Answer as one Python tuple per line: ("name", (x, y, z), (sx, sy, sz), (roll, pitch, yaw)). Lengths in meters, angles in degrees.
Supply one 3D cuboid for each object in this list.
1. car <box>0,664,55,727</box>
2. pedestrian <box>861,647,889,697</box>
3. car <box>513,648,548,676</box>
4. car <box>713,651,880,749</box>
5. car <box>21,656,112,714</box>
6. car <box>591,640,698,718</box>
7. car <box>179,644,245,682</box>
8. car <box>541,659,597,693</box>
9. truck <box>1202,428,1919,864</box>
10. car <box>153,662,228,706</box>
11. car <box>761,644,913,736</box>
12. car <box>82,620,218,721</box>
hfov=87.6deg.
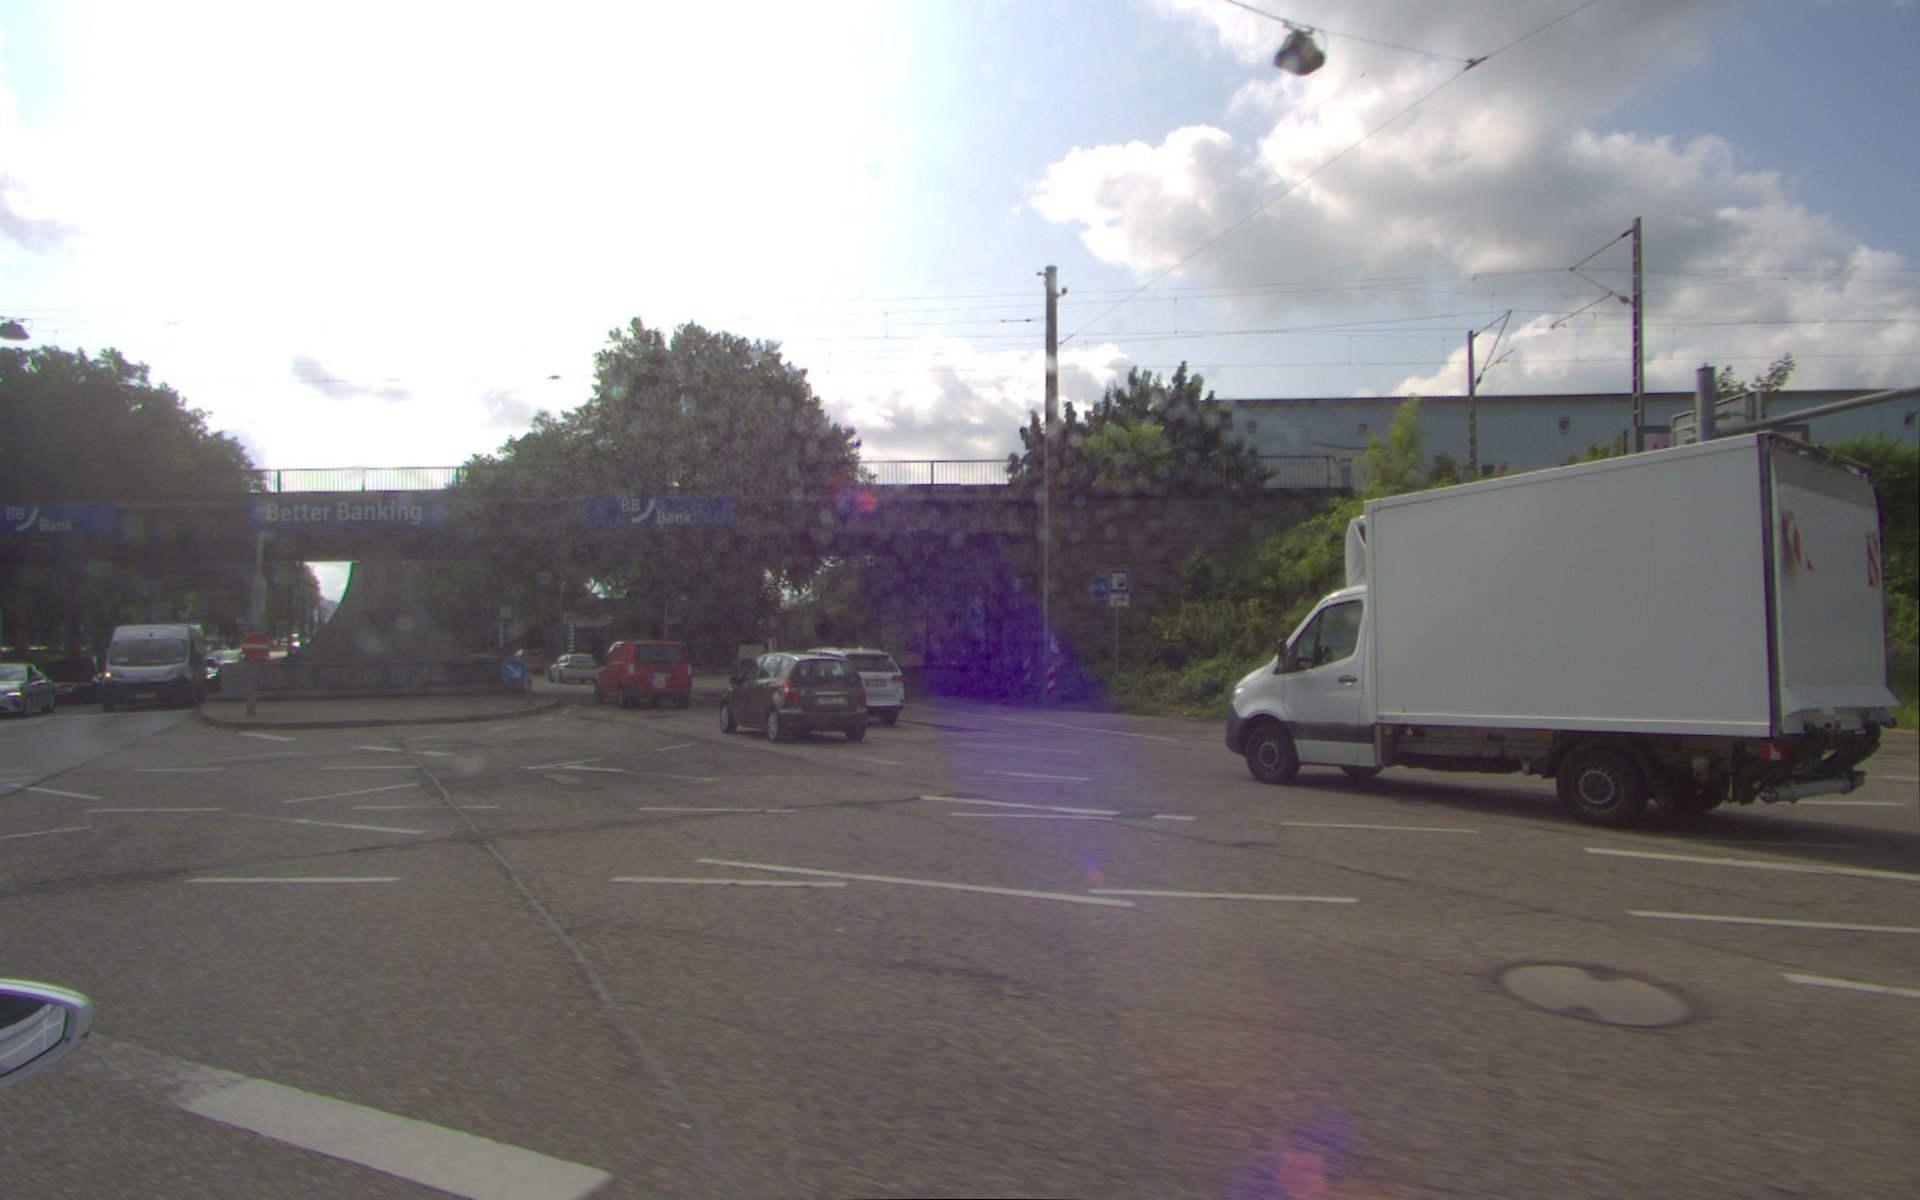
("car", (-25.947, 2.550, 26.984), (1.685, 1.495, 3.977), (0, -2, -33))
("pedestrian", (-2.966, 2.485, 34.900), (0.685, 1.673, 0.603), (-1, 2, 45))
("car", (-27.428, 3.916, 63.896), (1.754, 1.578, 3.983), (-2, 0, -27))
("car", (-3.159, 1.845, 18.824), (1.774, 1.627, 3.780), (4, -5, -31))
("car", (-30.061, 2.811, 33.808), (1.748, 1.604, 4.631), (-2, 0, -36))
("car", (-9.363, 2.234, 29.463), (1.935, 2.042, 4.651), (1, -2, -32))
("car", (-37.800, 3.157, 50.702), (1.969, 1.629, 3.982), (-3, 1, -28))
("car", (-19.538, 3.744, 50.004), (1.960, 1.571, 3.980), (1, -3, -31))
("truck", (5.632, 0.520, 10.435), (2.424, 3.159, 5.992), (2, -4, -34))
("car", (-30.586, 3.303, 39.898), (1.653, 1.366, 3.982), (-3, 1, -28))
("car", (-3.077, 2.050, 24.164), (1.974, 1.926, 4.484), (0, -2, -32))
("car", (-24.495, 2.008, 30.547), (2.232, 2.560, 5.596), (-5, 2, -30))
